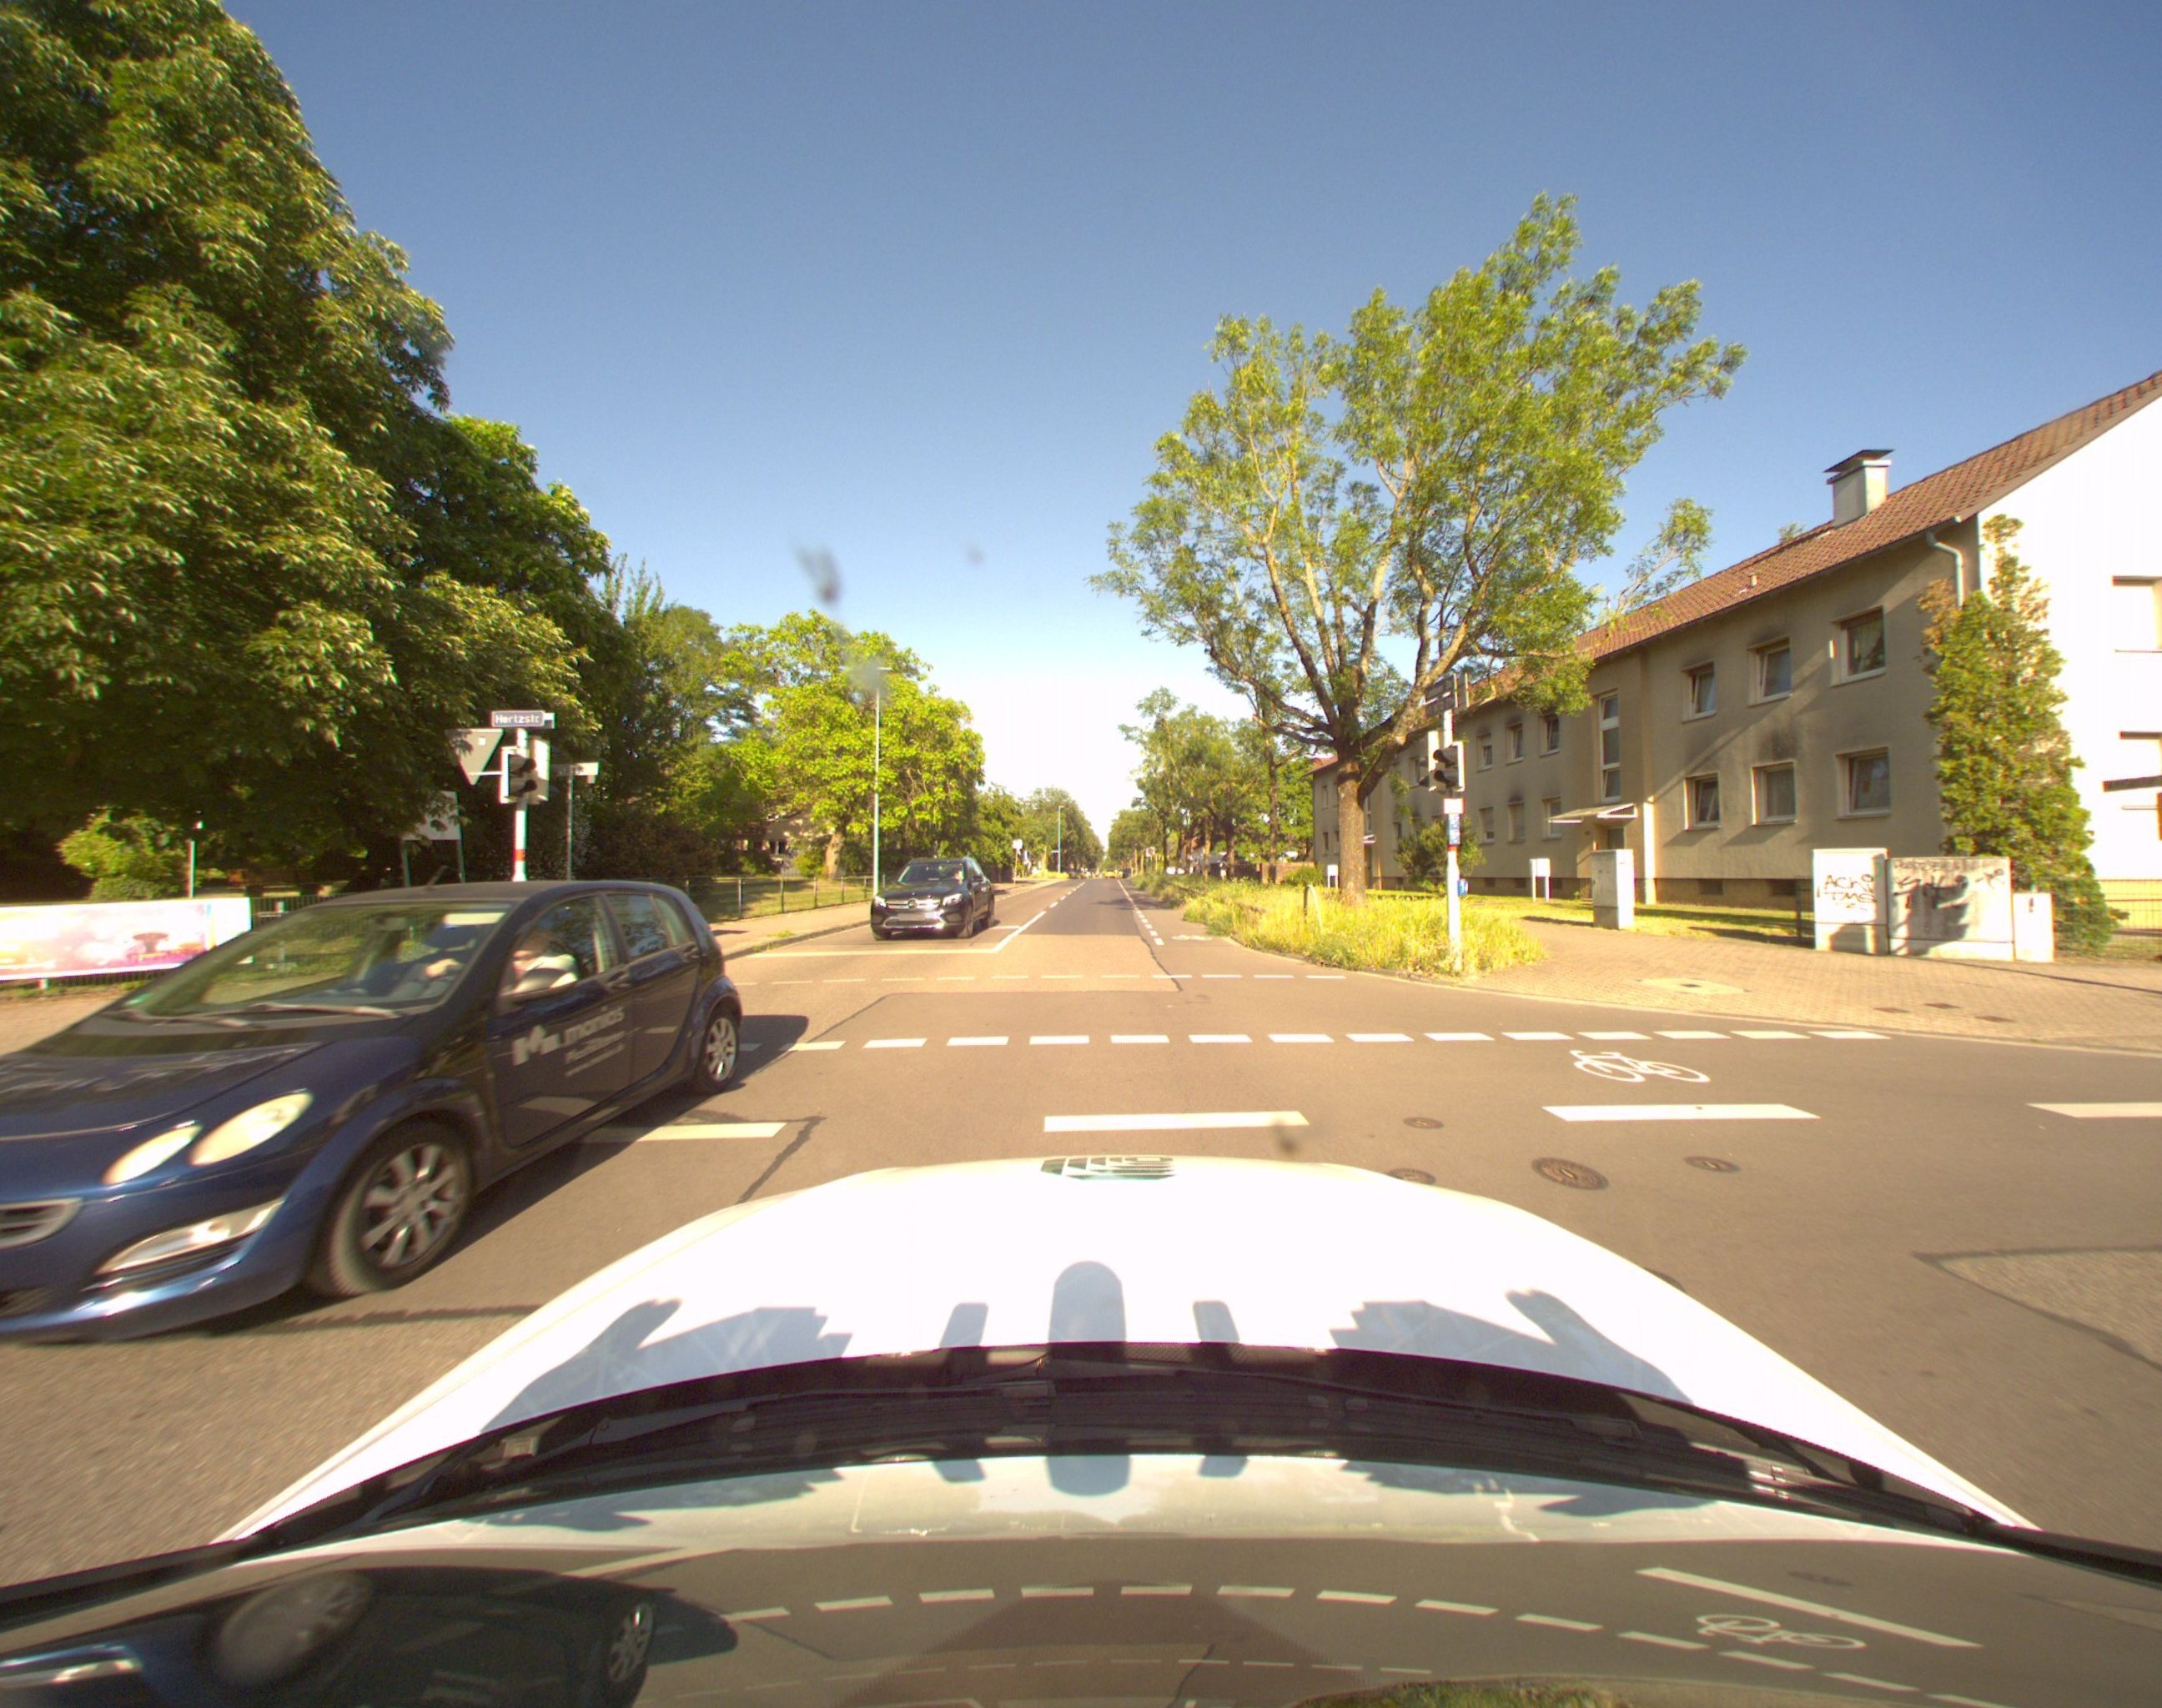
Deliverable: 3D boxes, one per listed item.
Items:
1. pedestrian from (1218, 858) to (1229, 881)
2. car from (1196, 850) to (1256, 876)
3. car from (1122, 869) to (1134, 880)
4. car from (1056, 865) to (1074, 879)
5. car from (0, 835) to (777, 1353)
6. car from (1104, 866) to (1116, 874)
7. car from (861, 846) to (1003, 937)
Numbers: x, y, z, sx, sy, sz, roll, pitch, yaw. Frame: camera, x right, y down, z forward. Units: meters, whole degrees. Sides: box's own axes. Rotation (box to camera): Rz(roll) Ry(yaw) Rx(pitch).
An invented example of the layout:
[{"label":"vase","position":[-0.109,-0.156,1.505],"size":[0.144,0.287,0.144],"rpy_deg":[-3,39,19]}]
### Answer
[{"label":"pedestrian","position":[10.679,1.166,60.887],"size":[0.635,1.706,0.612],"rpy_deg":[-3,-1,0]},{"label":"car","position":[14.521,0.948,81.590],"size":[5.579,2.539,2.264],"rpy_deg":[0,-1,-2]},{"label":"car","position":[7.671,3.343,132.762],"size":[1.846,1.626,4.470],"rpy_deg":[-2,-3,2]},{"label":"car","position":[-2.031,2.328,104.686],"size":[1.945,1.727,4.877],"rpy_deg":[1,-3,3]},{"label":"car","position":[-3.254,0.762,4.263],"size":[1.799,1.455,3.850],"rpy_deg":[-1,-2,1]},{"label":"car","position":[5.282,2.918,147.216],"size":[1.882,1.479,3.885],"rpy_deg":[2,-2,-1]},{"label":"car","position":[-2.967,0.715,17.220],"size":[1.806,1.618,4.397],"rpy_deg":[-2,-1,5]}]
